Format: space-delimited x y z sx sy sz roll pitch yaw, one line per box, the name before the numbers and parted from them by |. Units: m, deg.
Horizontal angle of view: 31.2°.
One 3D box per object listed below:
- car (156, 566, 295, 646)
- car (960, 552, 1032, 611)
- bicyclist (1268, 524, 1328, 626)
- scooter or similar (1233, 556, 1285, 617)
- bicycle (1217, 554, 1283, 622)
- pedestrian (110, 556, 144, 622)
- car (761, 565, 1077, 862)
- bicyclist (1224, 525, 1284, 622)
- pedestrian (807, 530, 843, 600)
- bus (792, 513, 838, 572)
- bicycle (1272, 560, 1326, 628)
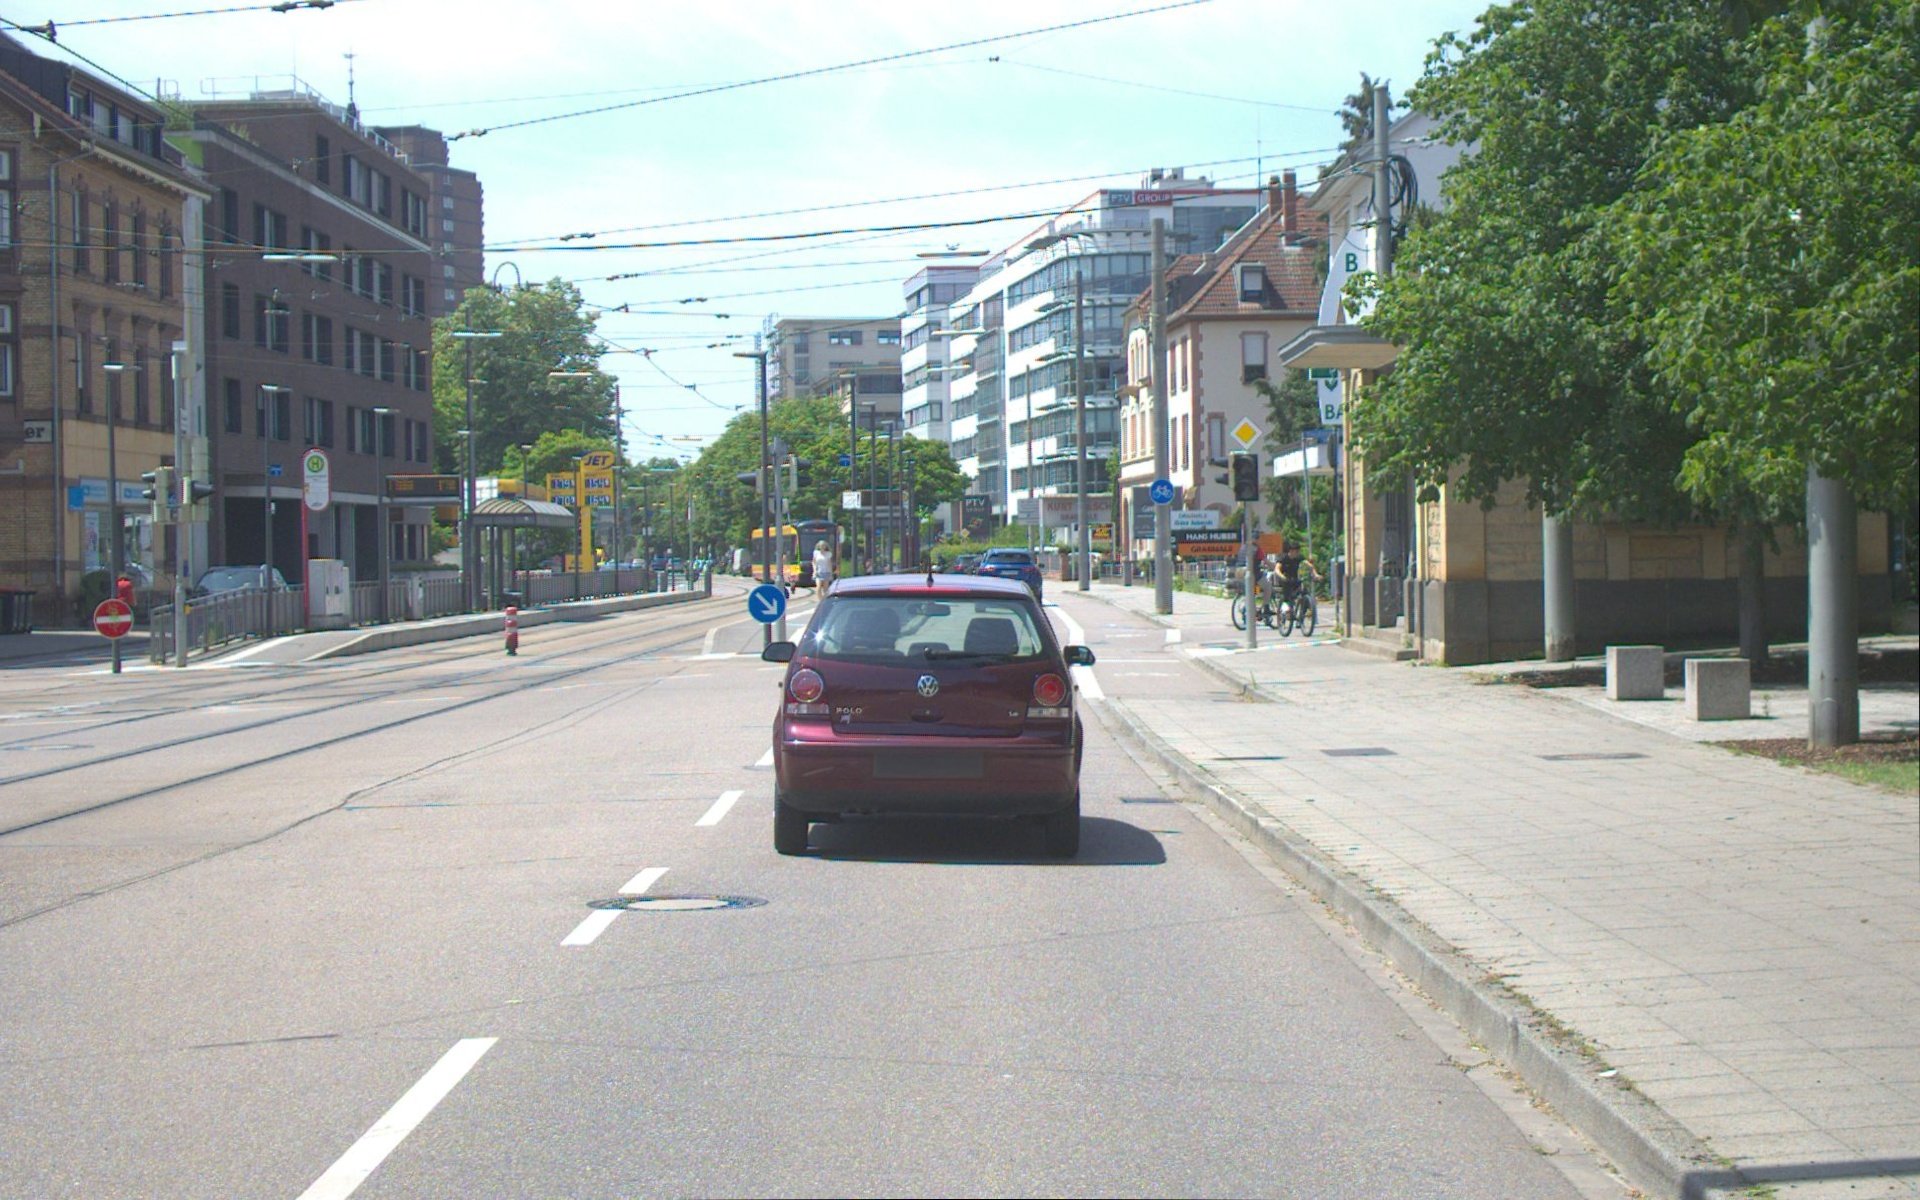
car | -15.765 0.096 73.961 1.794 1.574 4.494 -1 1 3
car | 1.011 -0.549 99.246 1.993 1.619 4.632 -1 1 0
bicyclist | 5.707 -0.428 58.121 0.832 1.612 0.860 -4 3 1
scooter or similar | 5.853 -0.271 67.332 0.339 1.174 1.468 -1 1 -23
bicycle | 5.350 -0.232 63.354 0.376 1.193 1.902 -1 1 32
pedestrian | -19.894 -0.263 82.133 0.614 1.555 0.640 -1 1 0
car | -0.206 0.557 18.867 1.561 1.448 3.062 -1 1 0
bicyclist | 5.424 -0.496 63.362 0.728 1.754 0.922 -1 1 33
pedestrian | -3.245 -0.840 82.855 0.763 1.669 1.100 -1 1 1
bus | -7.592 -3.020 180.820 2.145 2.993 6.574 -1 1 0
bicycle | 5.724 -0.107 58.094 0.668 0.999 1.864 -5 3 1
